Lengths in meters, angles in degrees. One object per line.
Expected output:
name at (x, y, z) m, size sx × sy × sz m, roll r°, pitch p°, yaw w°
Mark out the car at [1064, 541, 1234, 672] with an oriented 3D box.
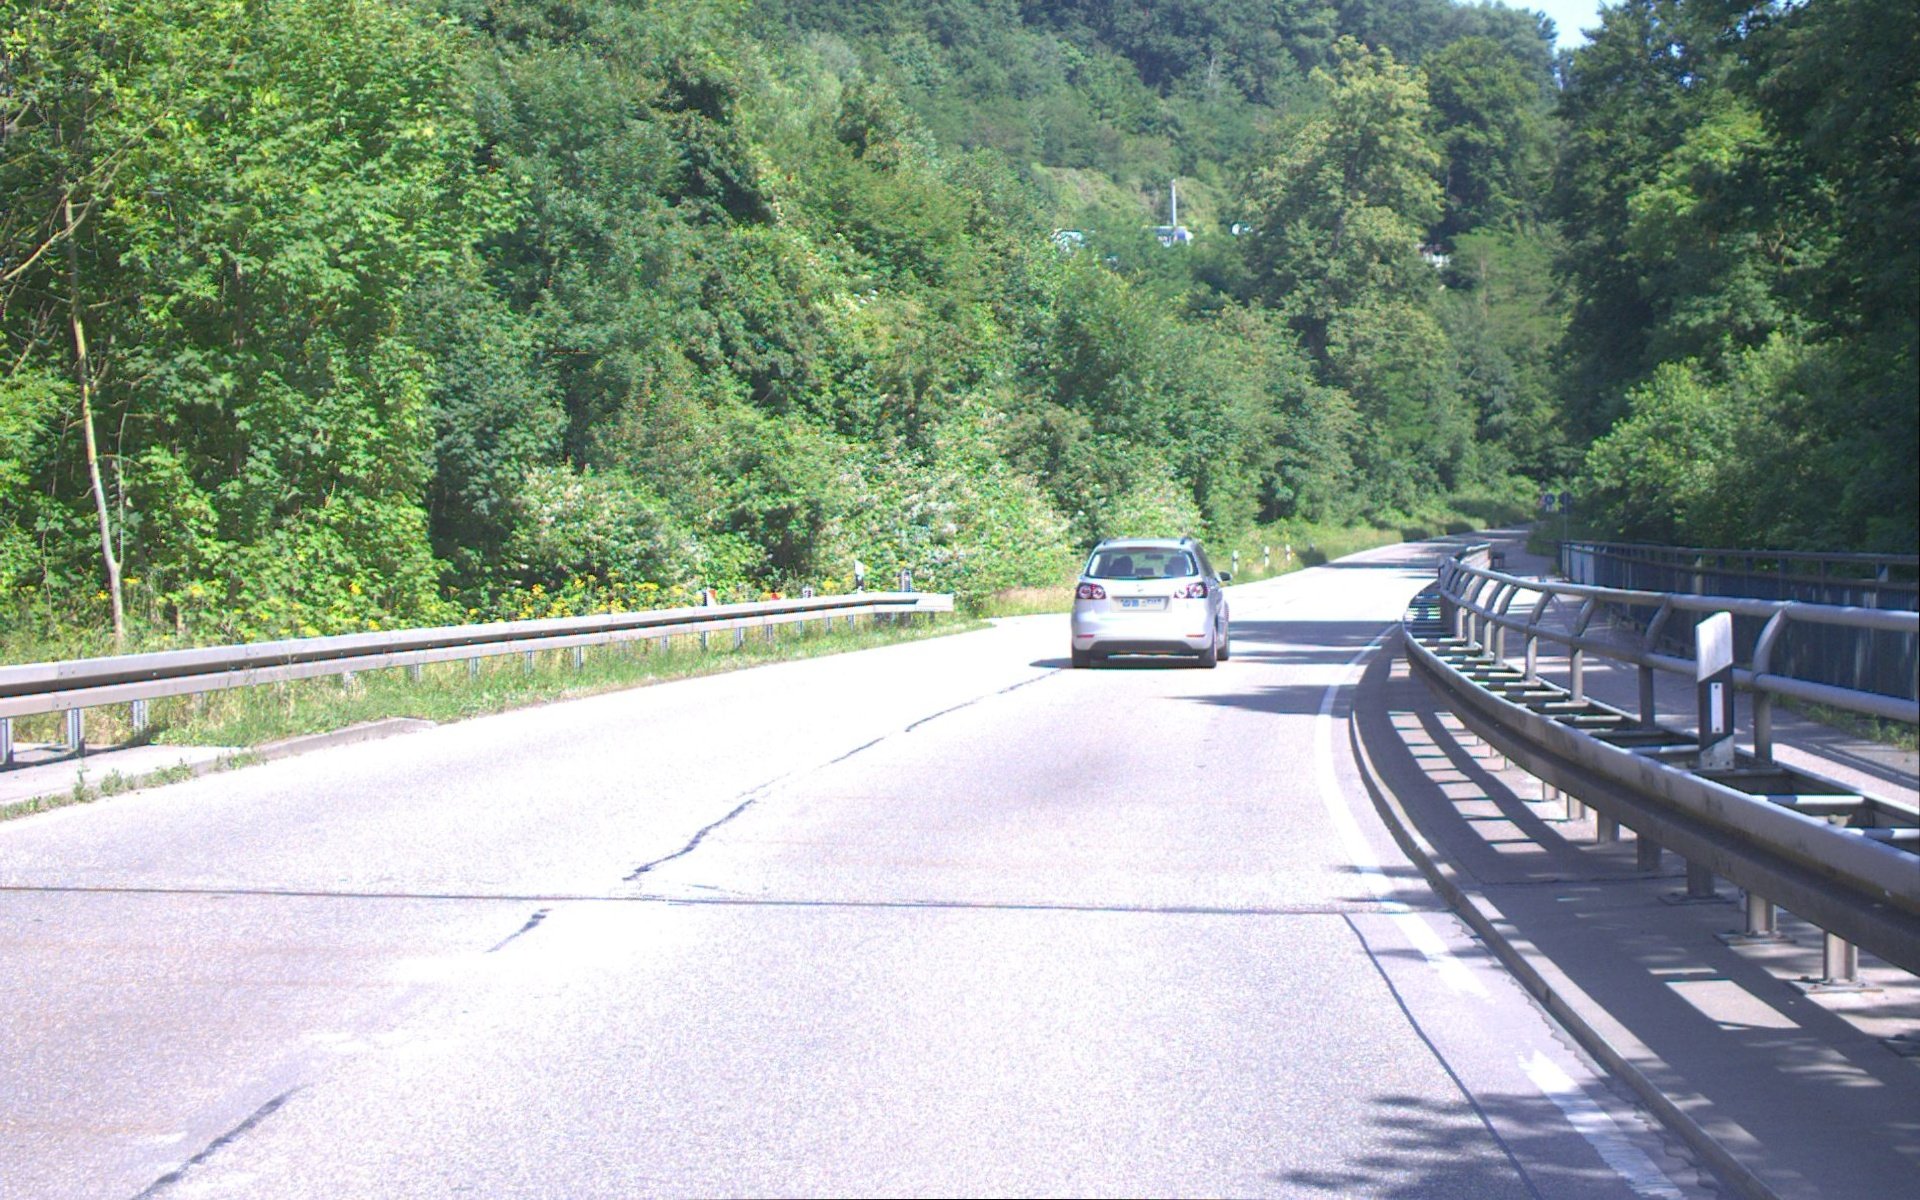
car at (2.379, 0.043, 42.382) m, size 1.752 × 1.515 × 4.158 m, roll 1°, pitch 1°, yaw 8°
